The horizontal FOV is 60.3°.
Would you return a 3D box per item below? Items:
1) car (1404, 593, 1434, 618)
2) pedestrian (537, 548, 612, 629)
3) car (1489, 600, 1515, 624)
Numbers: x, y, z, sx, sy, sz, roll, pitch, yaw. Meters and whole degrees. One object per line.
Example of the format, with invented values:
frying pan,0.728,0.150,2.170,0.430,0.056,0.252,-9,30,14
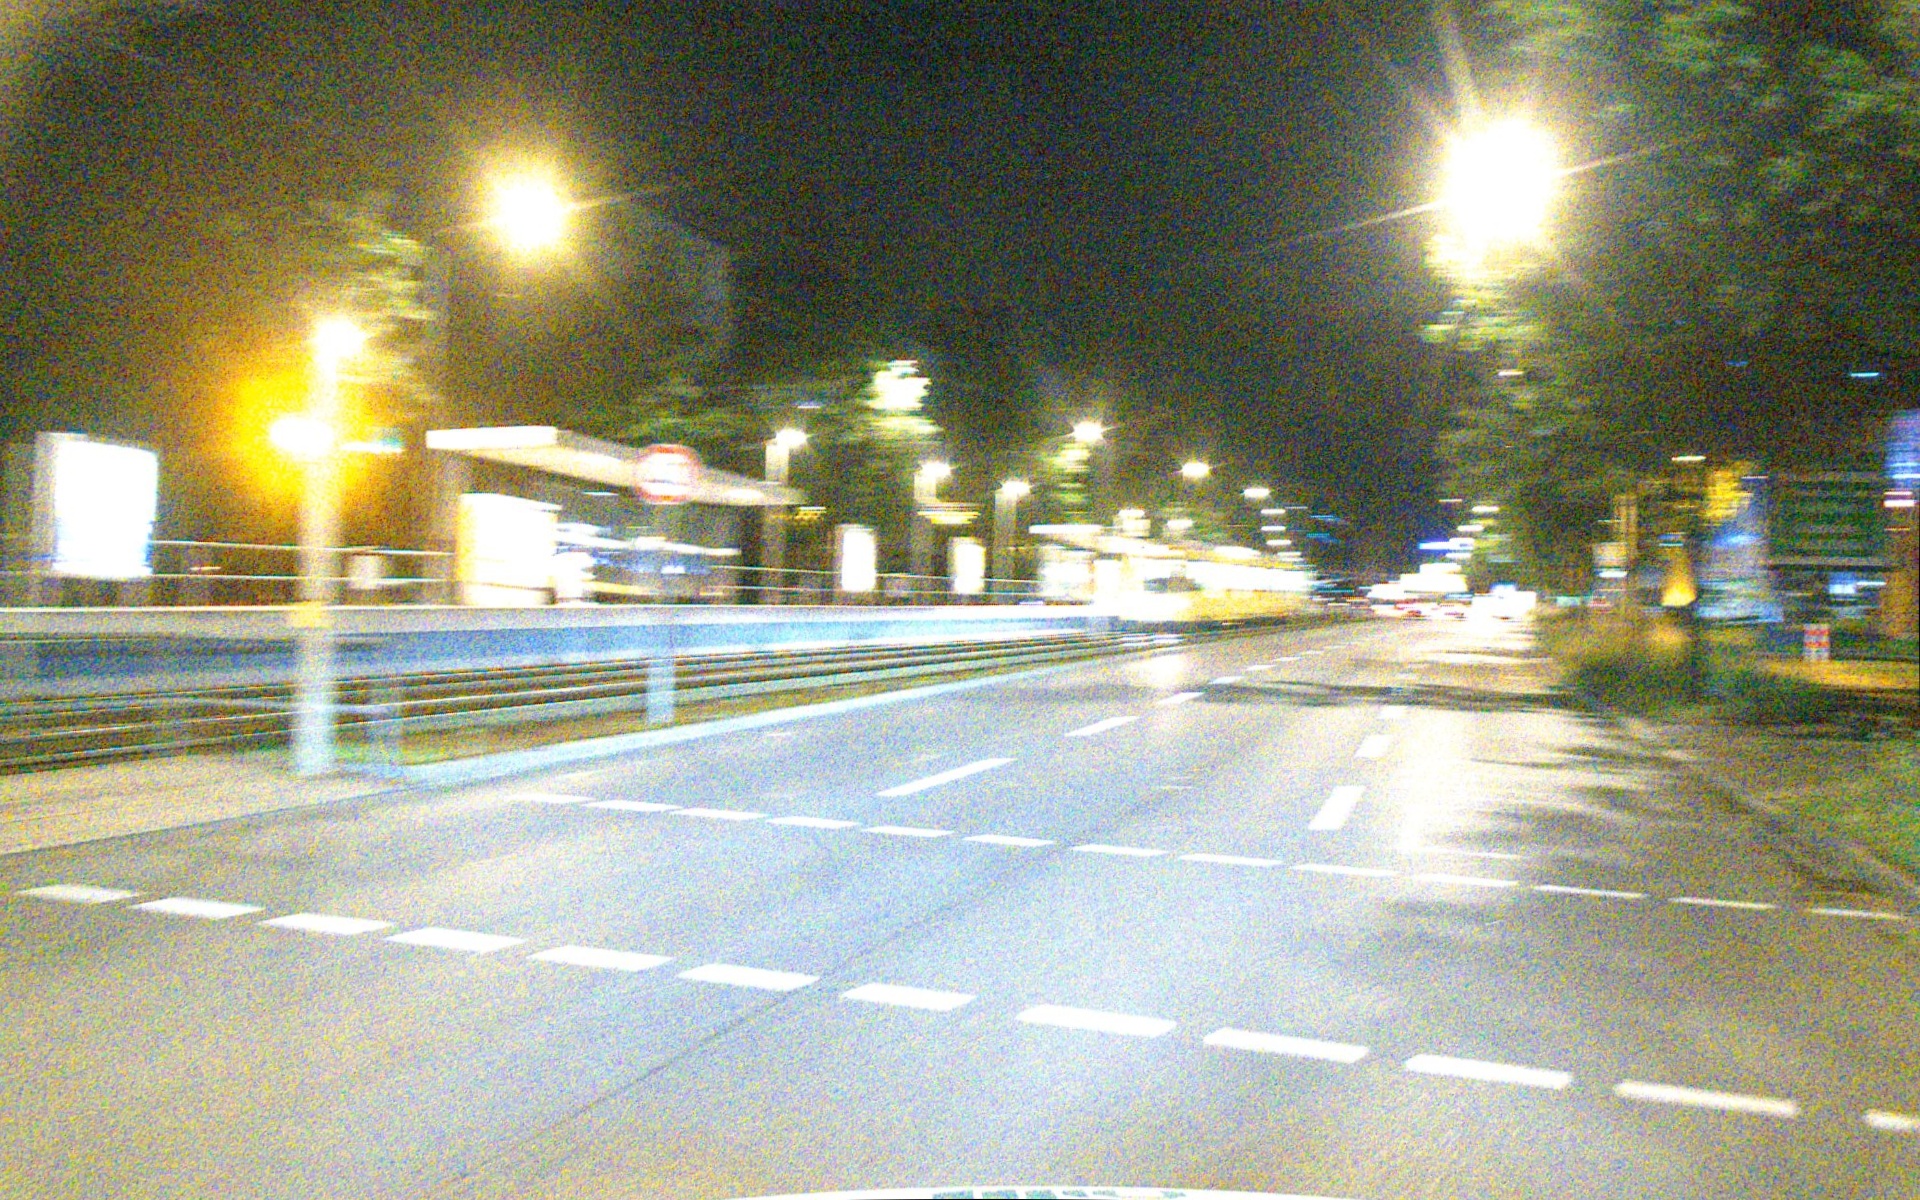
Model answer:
car,33.315,0.396,119.974,1.819,1.688,4.461,2,0,19
pedestrian,-7.519,-0.215,32.271,1.132,1.526,1.064,0,-1,-35
car,42.236,0.922,128.931,1.766,1.691,4.003,4,3,17
